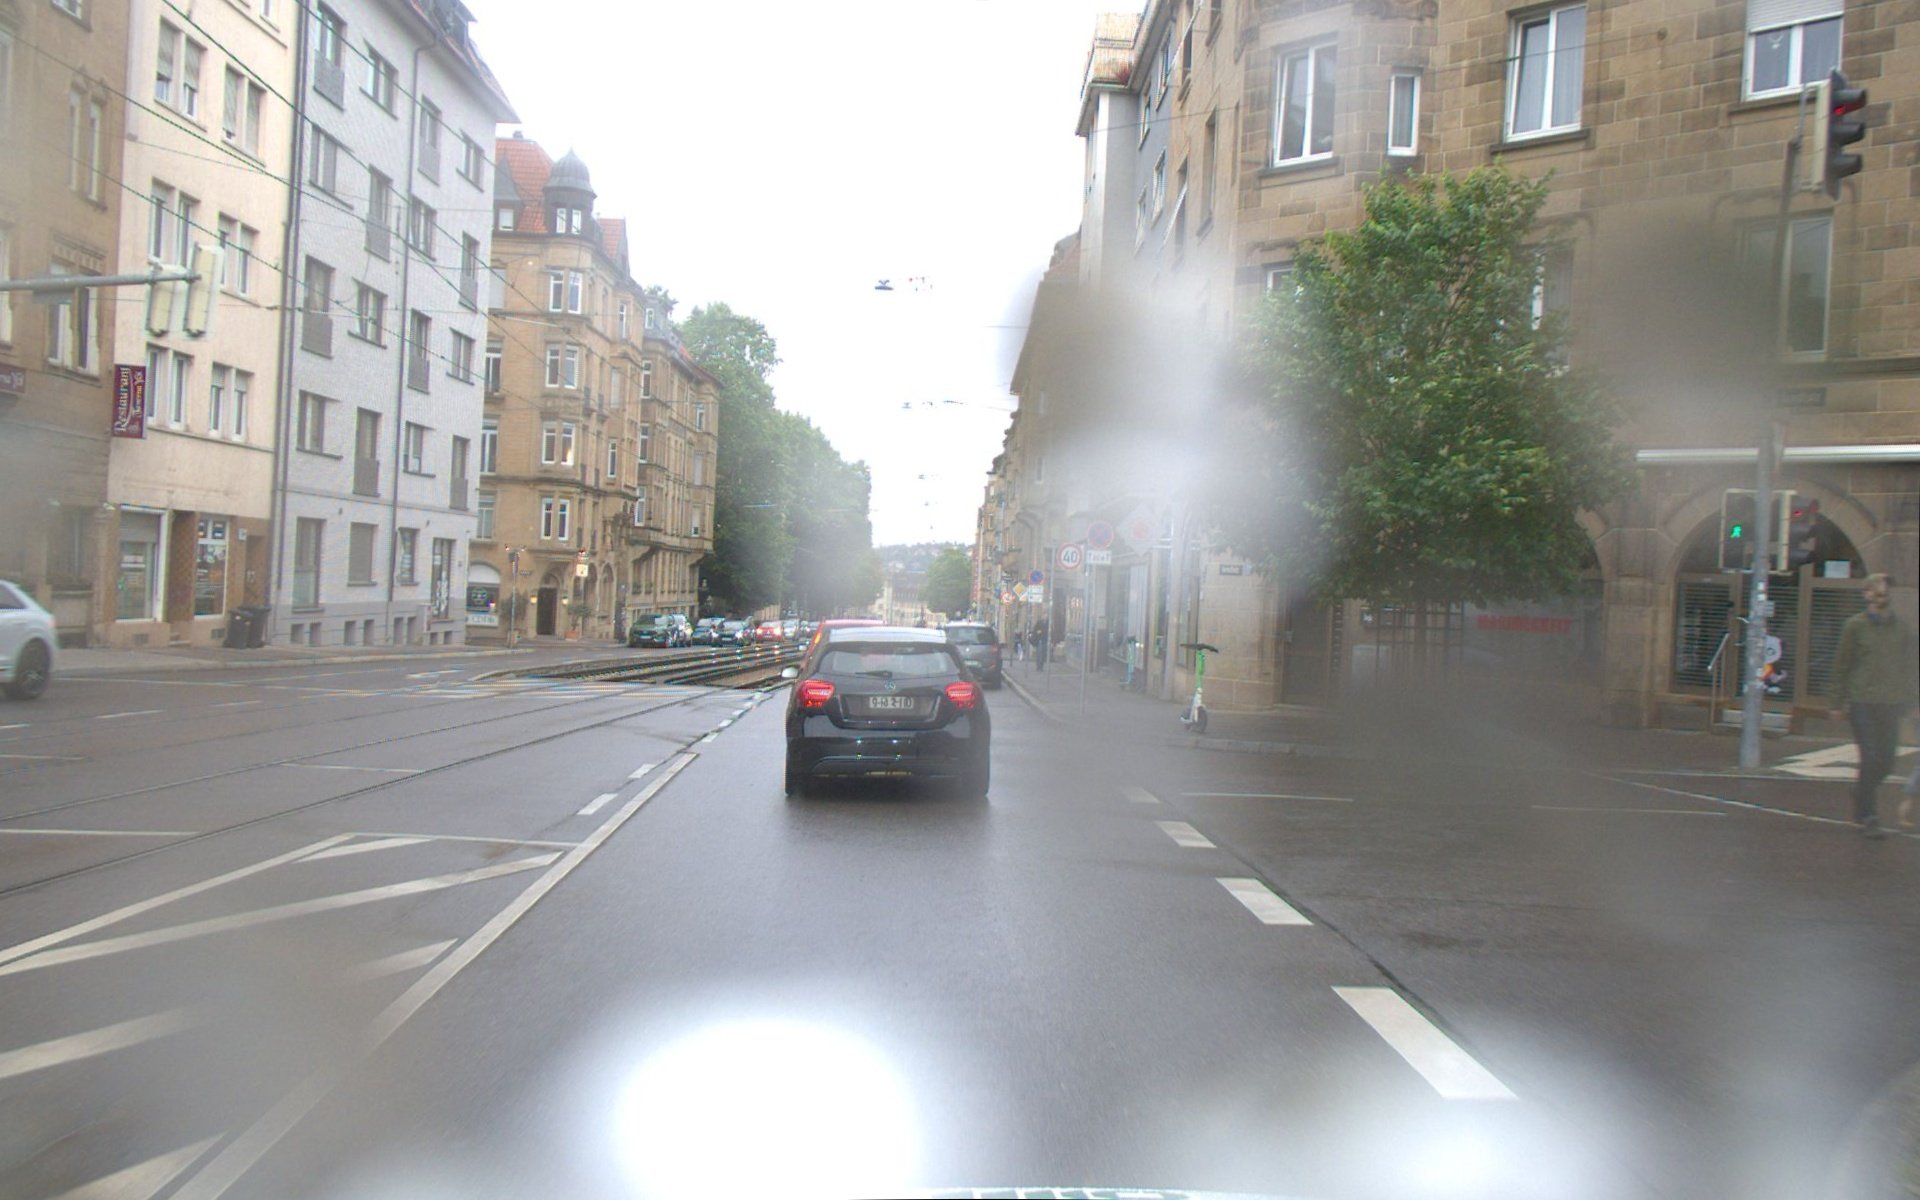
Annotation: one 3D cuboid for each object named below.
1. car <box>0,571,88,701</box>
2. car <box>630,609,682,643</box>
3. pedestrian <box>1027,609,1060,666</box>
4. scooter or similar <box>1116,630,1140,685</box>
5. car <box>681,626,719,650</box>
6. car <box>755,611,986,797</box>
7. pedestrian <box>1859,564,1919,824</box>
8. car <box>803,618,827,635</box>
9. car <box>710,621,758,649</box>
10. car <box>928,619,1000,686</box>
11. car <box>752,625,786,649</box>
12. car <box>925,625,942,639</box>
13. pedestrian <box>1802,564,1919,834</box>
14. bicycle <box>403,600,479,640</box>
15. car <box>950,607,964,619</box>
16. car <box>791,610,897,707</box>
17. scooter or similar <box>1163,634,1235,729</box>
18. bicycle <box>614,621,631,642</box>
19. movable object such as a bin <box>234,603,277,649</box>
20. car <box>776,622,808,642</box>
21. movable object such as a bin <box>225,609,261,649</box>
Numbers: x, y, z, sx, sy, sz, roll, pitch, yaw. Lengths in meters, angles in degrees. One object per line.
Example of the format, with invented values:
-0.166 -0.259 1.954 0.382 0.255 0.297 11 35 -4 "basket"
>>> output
-13.164 0.429 20.463 1.953 1.656 5.252 1 -1 0 "car"
-14.800 1.263 80.580 1.686 1.568 3.934 1 -1 1 "car"
2.688 1.201 53.437 0.926 1.800 1.014 2 -1 -2 "pedestrian"
3.846 1.312 37.904 0.387 1.237 1.106 2 -1 -2 "scooter or similar"
-15.029 2.170 95.677 1.536 1.339 3.481 1 -1 1 "car"
-0.736 0.861 15.283 1.828 1.477 3.999 1 -1 -1 "car"
7.052 0.666 11.872 0.668 1.820 0.901 0 -1 -4 "pedestrian"
-12.638 2.288 144.466 1.660 1.413 3.481 1 -1 1 "car"
-11.948 1.852 87.618 1.908 1.421 4.273 0 -1 0 "car"
0.079 1.313 42.681 1.729 1.586 4.744 1 -1 0 "car"
-12.158 2.342 105.478 1.646 1.523 3.519 1 -1 1 "car"
-2.514 3.056 159.058 1.580 1.340 3.999 1 -1 0 "car"
6.472 0.676 11.651 0.582 1.820 0.890 0 -1 -4 "pedestrian"
-23.372 0.904 74.528 3.090 1.611 1.594 1 5 -12 "bicycle"
-0.373 1.560 194.467 1.581 1.340 3.999 3 -1 0 "car"
-1.934 0.952 28.286 1.616 1.477 3.998 2 -1 -3 "car"
3.238 1.086 22.534 0.625 1.231 1.551 1 -1 -5 "scooter or similar"
-16.670 1.568 81.713 0.586 1.018 2.077 1 -1 -5 "bicycle"
-17.847 0.656 41.917 0.698 1.092 0.687 5 -1 -1 "movable object such as a bin"
-11.839 2.256 116.684 1.769 1.384 4.762 1 -1 0 "car"
-17.870 0.726 41.222 0.582 0.926 0.560 5 -1 -1 "movable object such as a bin"
